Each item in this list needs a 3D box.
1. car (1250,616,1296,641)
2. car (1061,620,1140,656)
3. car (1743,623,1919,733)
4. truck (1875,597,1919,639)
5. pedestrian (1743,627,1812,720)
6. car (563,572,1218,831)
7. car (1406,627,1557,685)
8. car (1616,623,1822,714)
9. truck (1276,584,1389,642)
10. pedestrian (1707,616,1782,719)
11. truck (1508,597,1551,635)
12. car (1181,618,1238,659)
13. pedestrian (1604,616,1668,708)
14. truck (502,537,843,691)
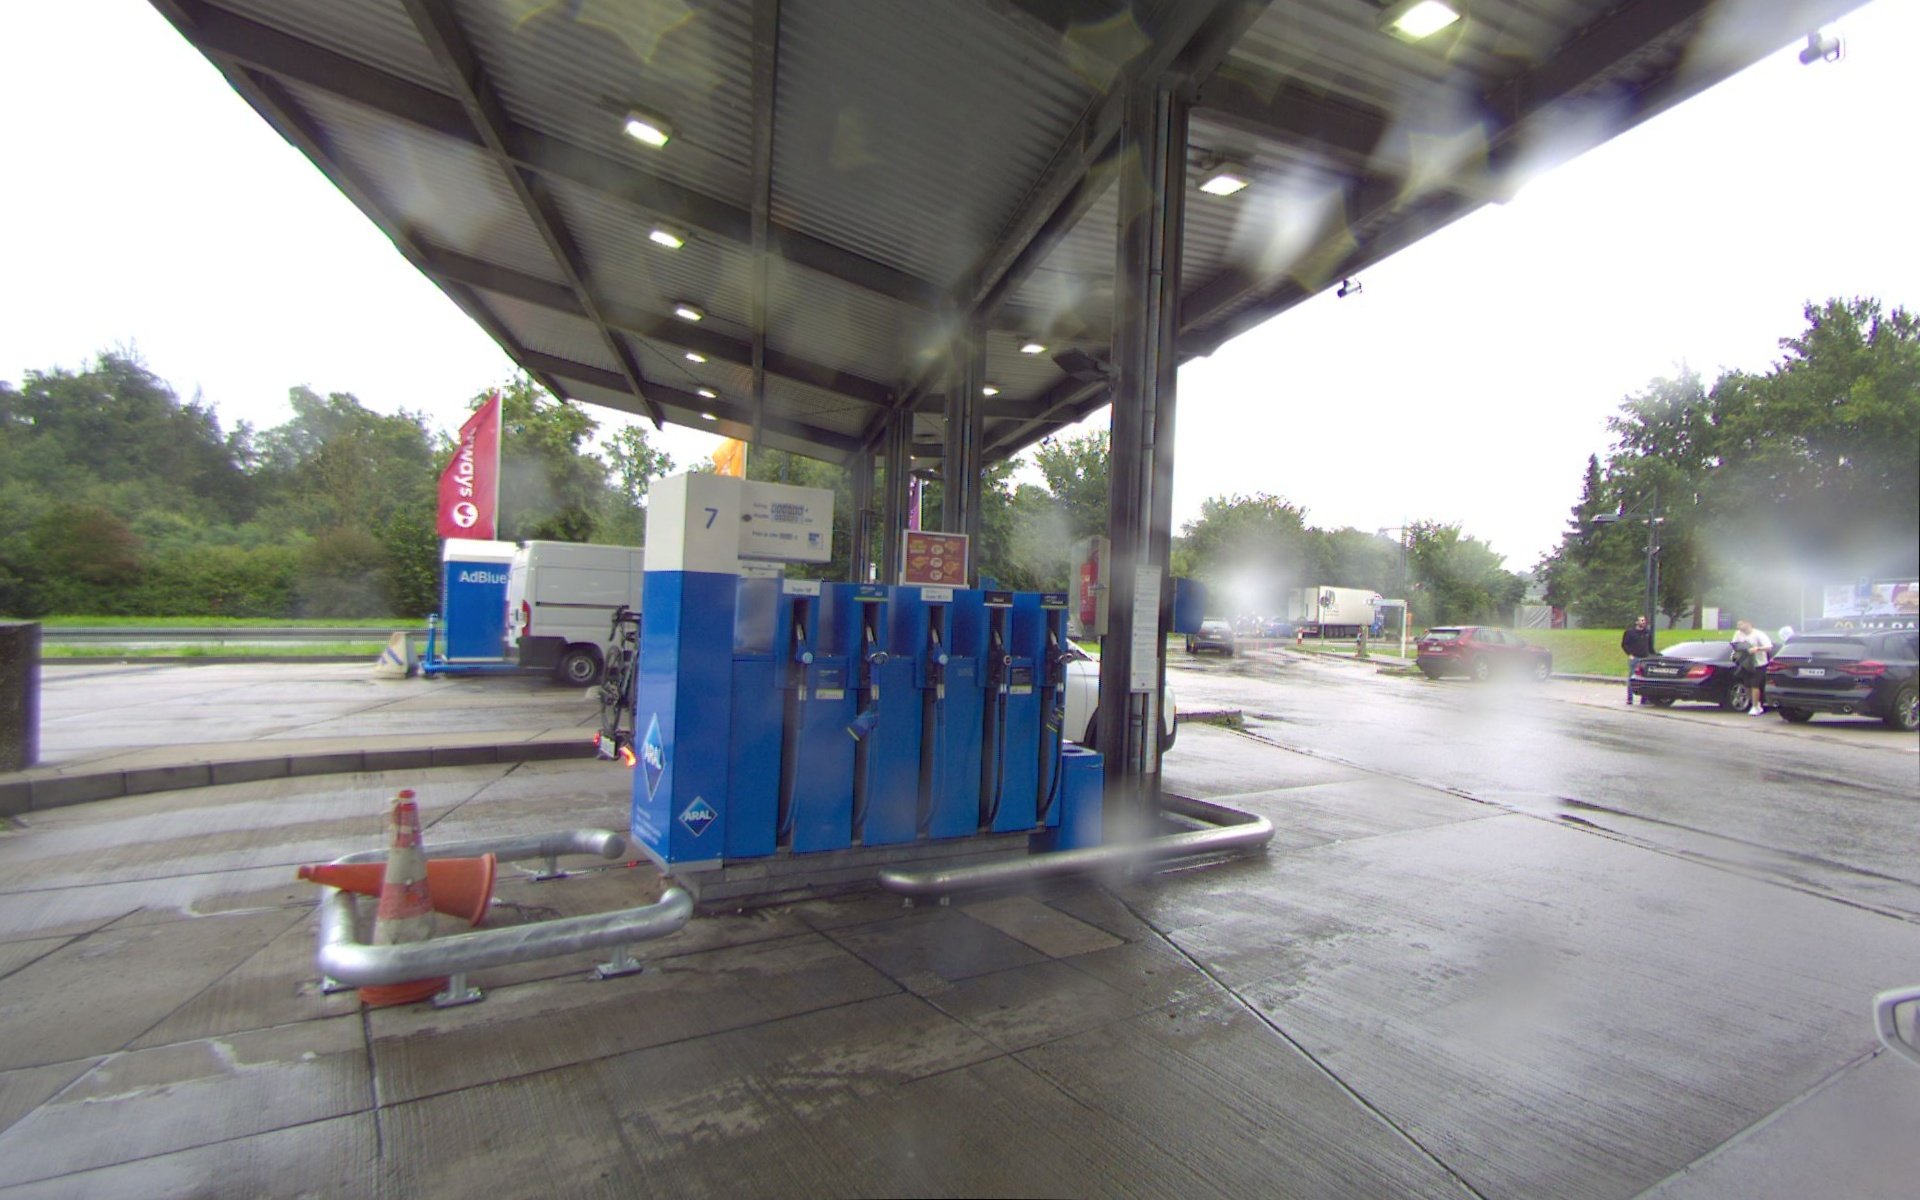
[{"bbox_3d":[22.906,2.066,73.430,1.787,1.704,3.934,2,0,40],"label":"car"},{"bbox_3d":[7.015,1.904,49.946,3.970,1.650,1.756,3,-1,-42],"label":"car"},{"bbox_3d":[16.178,1.276,17.460,4.274,1.734,2.016,1,-1,-18],"label":"car"},{"bbox_3d":[68.857,1.328,71.696,5.285,2.959,2.191,2,0,-5],"label":"truck"},{"bbox_3d":[15.194,1.344,18.692,0.939,1.653,0.701,2,0,38],"label":"pedestrian"},{"bbox_3d":[-0.420,0.706,8.450,5.210,1.629,1.852,2,0,-30],"label":"car"},{"bbox_3d":[16.081,1.674,30.995,4.283,1.666,1.933,1,-2,-25],"label":"car"},{"bbox_3d":[15.947,1.361,21.083,4.293,1.734,2.007,1,-2,-31],"label":"car"},{"bbox_3d":[31.881,1.189,85.145,3.498,4.397,16.922,2,0,40],"label":"truck"},{"bbox_3d":[15.079,1.274,19.331,0.936,1.912,0.703,2,0,23],"label":"pedestrian"},{"bbox_3d":[49.640,1.392,87.663,2.438,3.126,7.352,2,0,24],"label":"truck"},{"bbox_3d":[11.284,1.712,45.706,1.959,1.700,4.003,2,-1,6],"label":"car"},{"bbox_3d":[14.583,1.328,21.695,0.691,1.912,0.893,2,0,-6],"label":"pedestrian"},{"bbox_3d":[-5.332,0.297,18.932,5.793,2.527,2.221,2,0,-30],"label":"truck"}]
